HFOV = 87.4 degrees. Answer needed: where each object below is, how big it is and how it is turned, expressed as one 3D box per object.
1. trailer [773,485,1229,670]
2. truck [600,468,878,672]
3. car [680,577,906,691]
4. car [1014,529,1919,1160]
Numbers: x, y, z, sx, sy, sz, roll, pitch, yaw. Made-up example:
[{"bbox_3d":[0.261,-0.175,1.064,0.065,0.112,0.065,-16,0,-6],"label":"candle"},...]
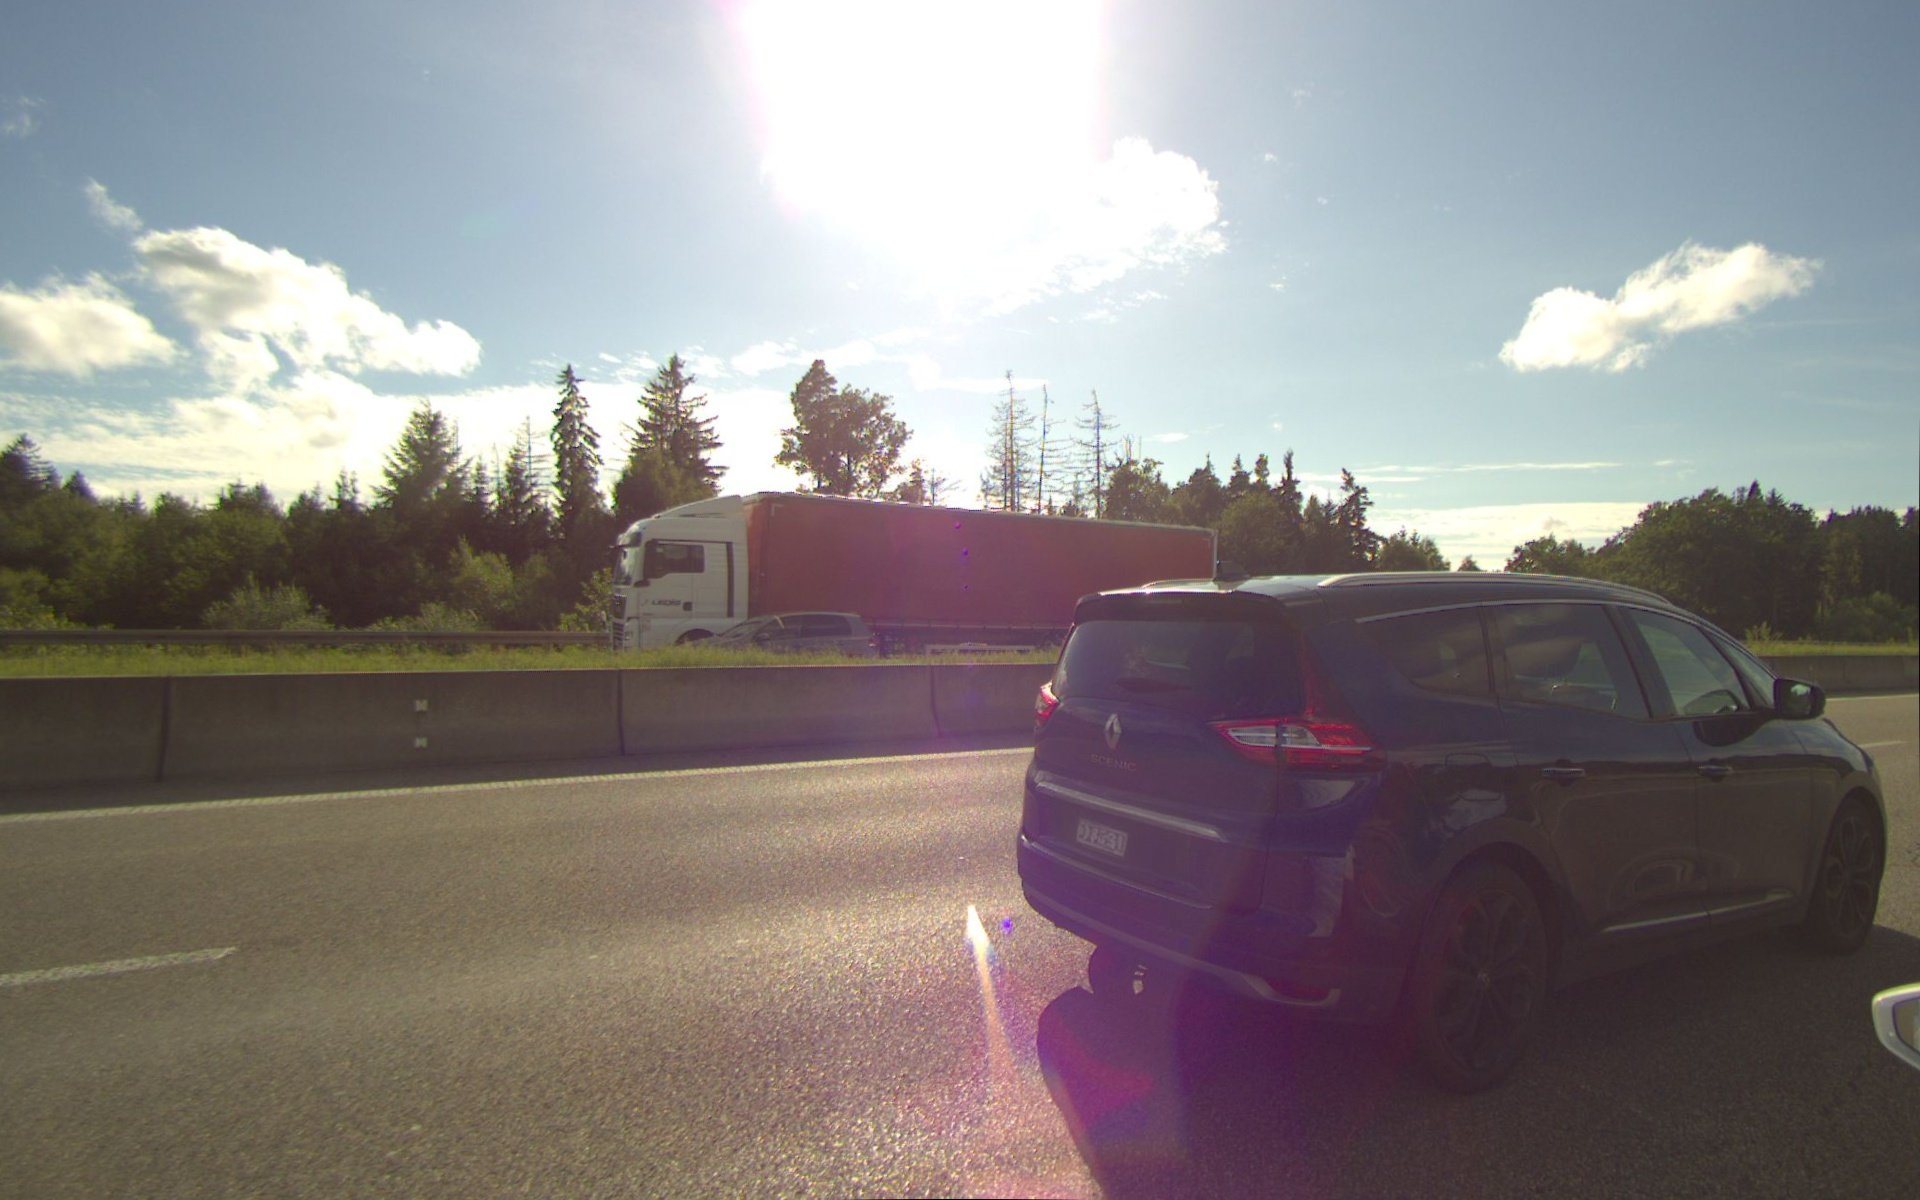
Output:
[{"bbox_3d":[1.533,-0.377,27.102,12.640,4.163,3.007,1,0,-30],"label":"trailer"},{"bbox_3d":[-5.102,-0.552,23.253,5.601,4.163,3.010,1,0,-30],"label":"truck"},{"bbox_3d":[-3.288,0.654,19.839,3.953,2.040,1.984,1,0,-30],"label":"car"},{"bbox_3d":[2.665,0.716,4.781,4.478,1.729,1.983,1,0,-31],"label":"car"}]
